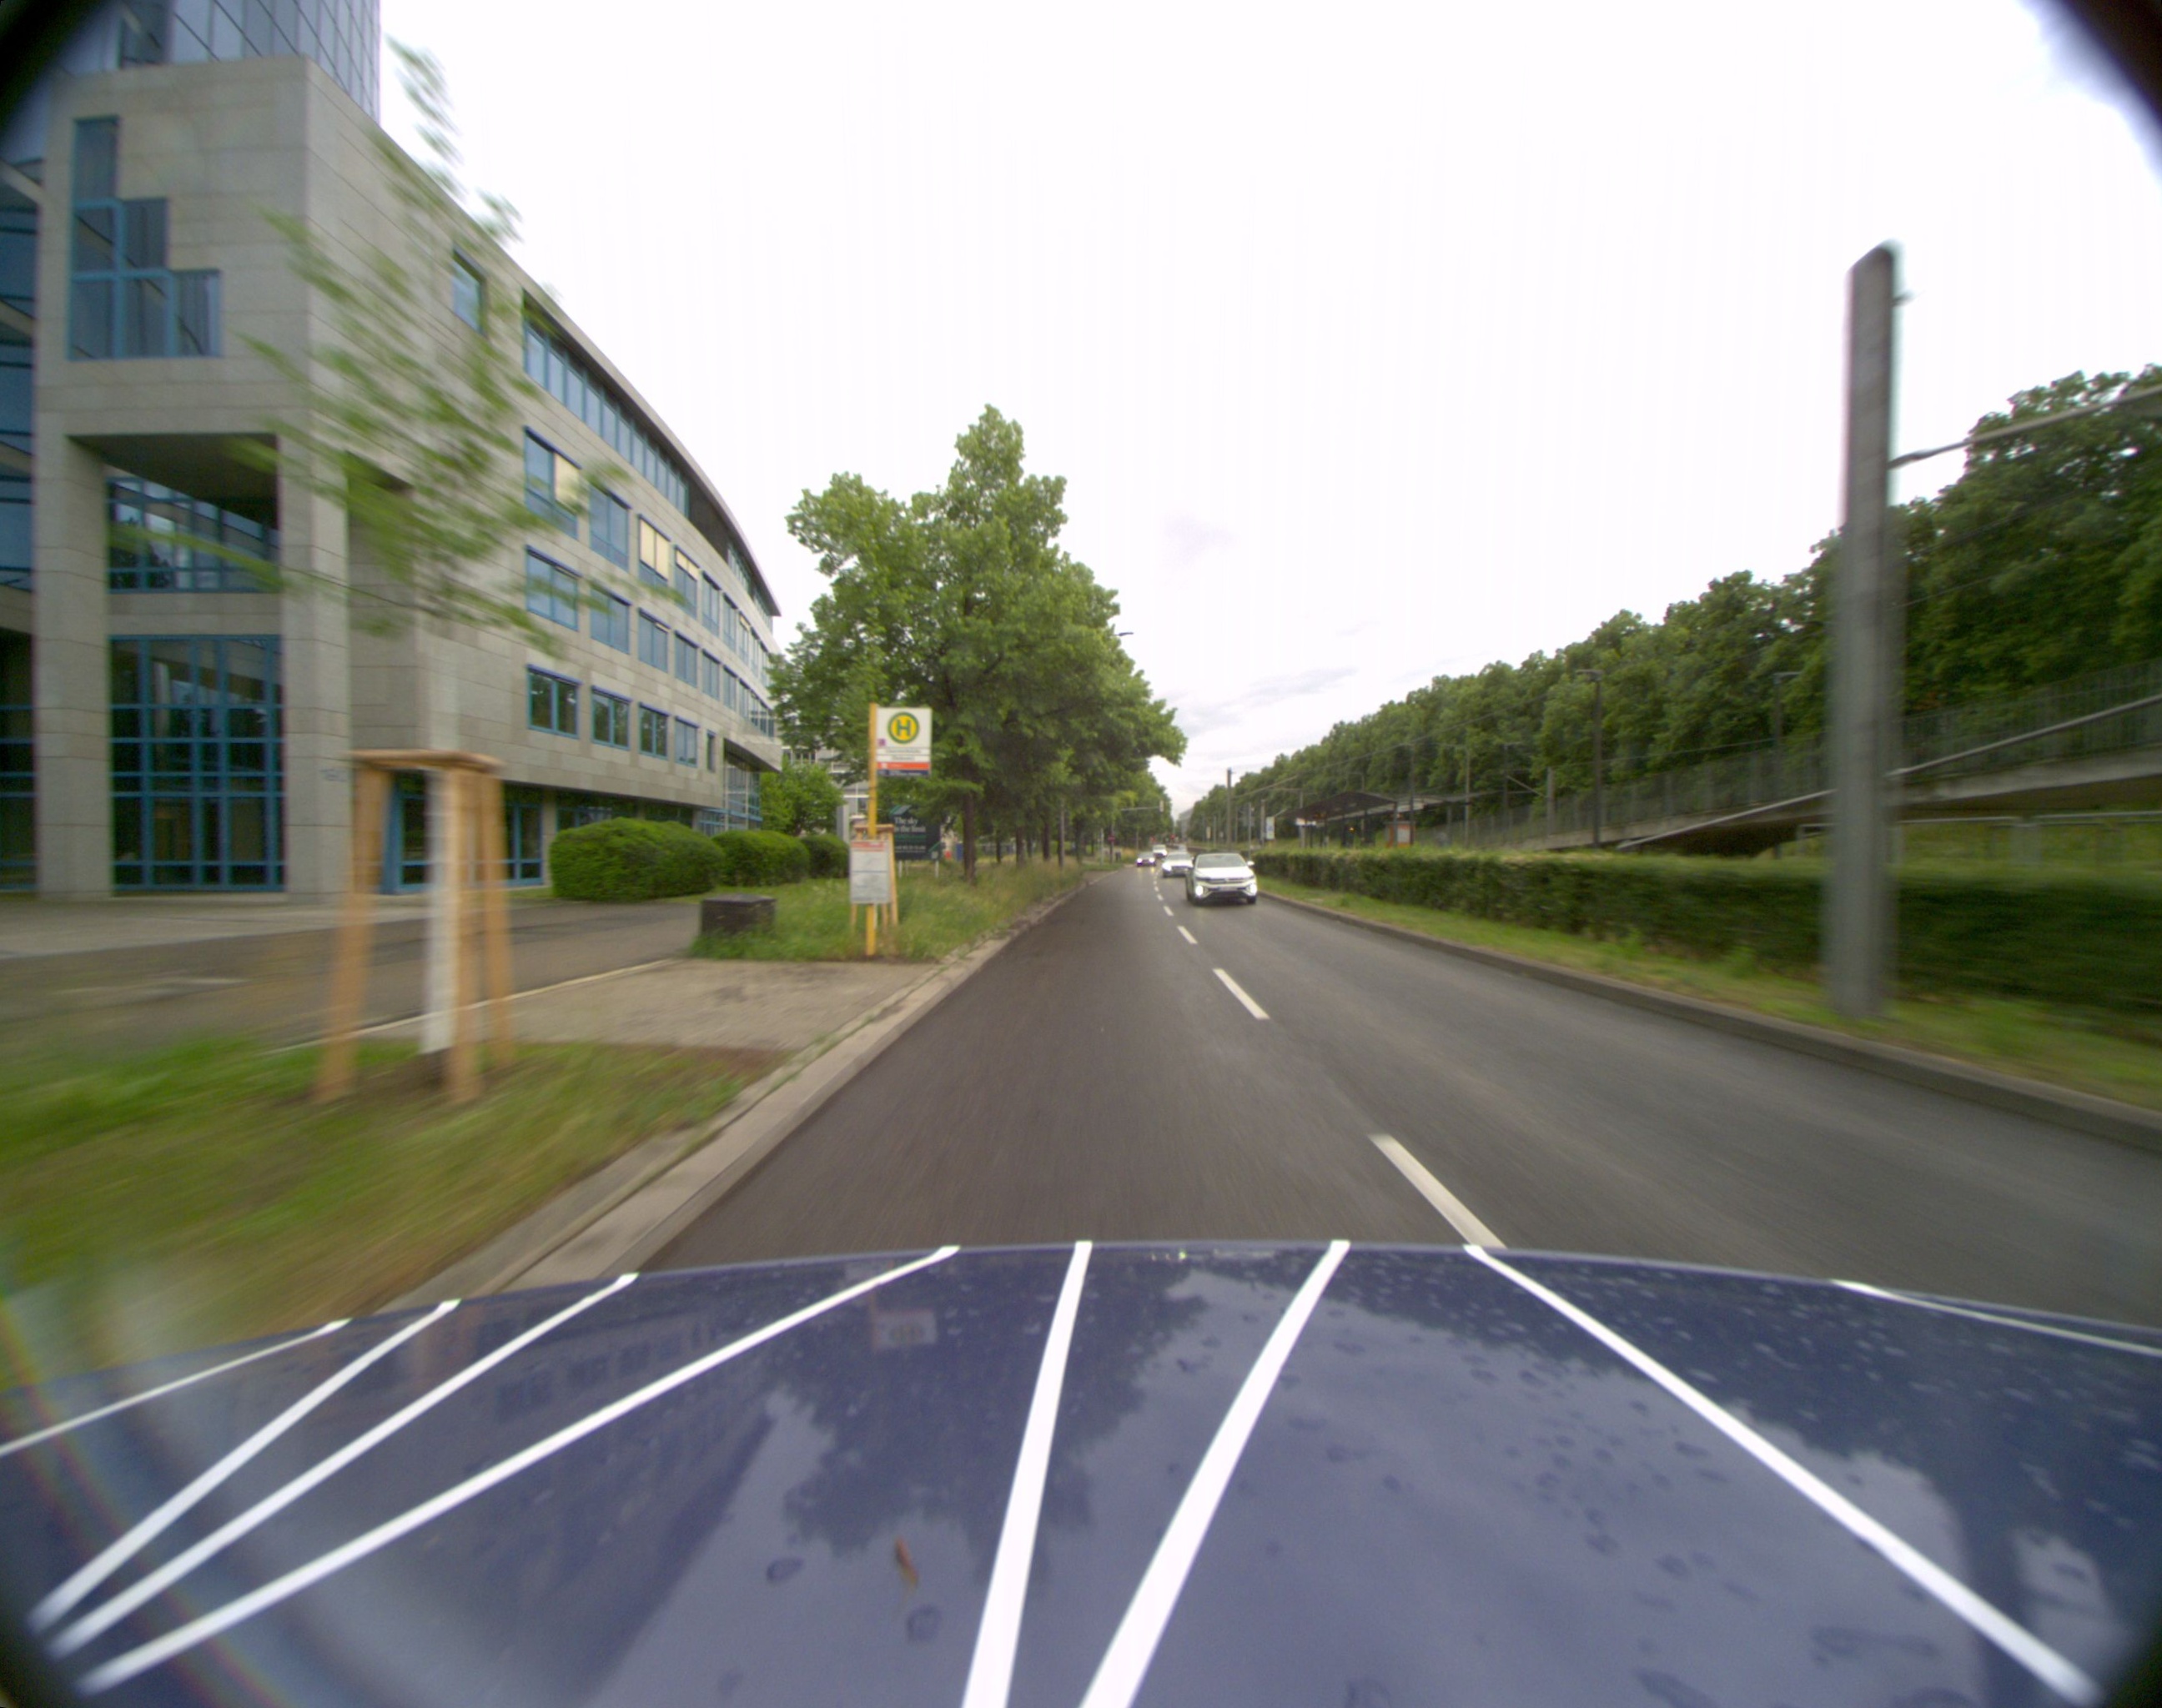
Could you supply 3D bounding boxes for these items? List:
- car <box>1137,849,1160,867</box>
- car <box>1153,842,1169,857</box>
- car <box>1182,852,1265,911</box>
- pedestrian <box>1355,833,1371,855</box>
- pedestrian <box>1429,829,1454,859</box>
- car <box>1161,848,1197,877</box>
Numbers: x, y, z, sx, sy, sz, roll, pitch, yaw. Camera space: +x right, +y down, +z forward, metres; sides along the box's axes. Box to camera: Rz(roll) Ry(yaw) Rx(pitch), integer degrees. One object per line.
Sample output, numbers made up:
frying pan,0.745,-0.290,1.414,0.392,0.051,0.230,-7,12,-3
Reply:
car,6.337,0.335,70.689,1.959,1.469,4.701,-3,1,7
car,10.877,-0.670,103.364,1.959,1.914,4.846,-3,1,5
car,4.228,0.751,23.273,1.959,1.457,4.700,-3,1,4
pedestrian,17.680,-0.624,47.647,0.754,1.348,0.692,-1,1,4
pedestrian,19.792,-0.542,41.753,0.937,1.602,1.027,-1,1,7
car,5.769,0.480,44.929,1.959,1.472,4.701,-3,1,7
